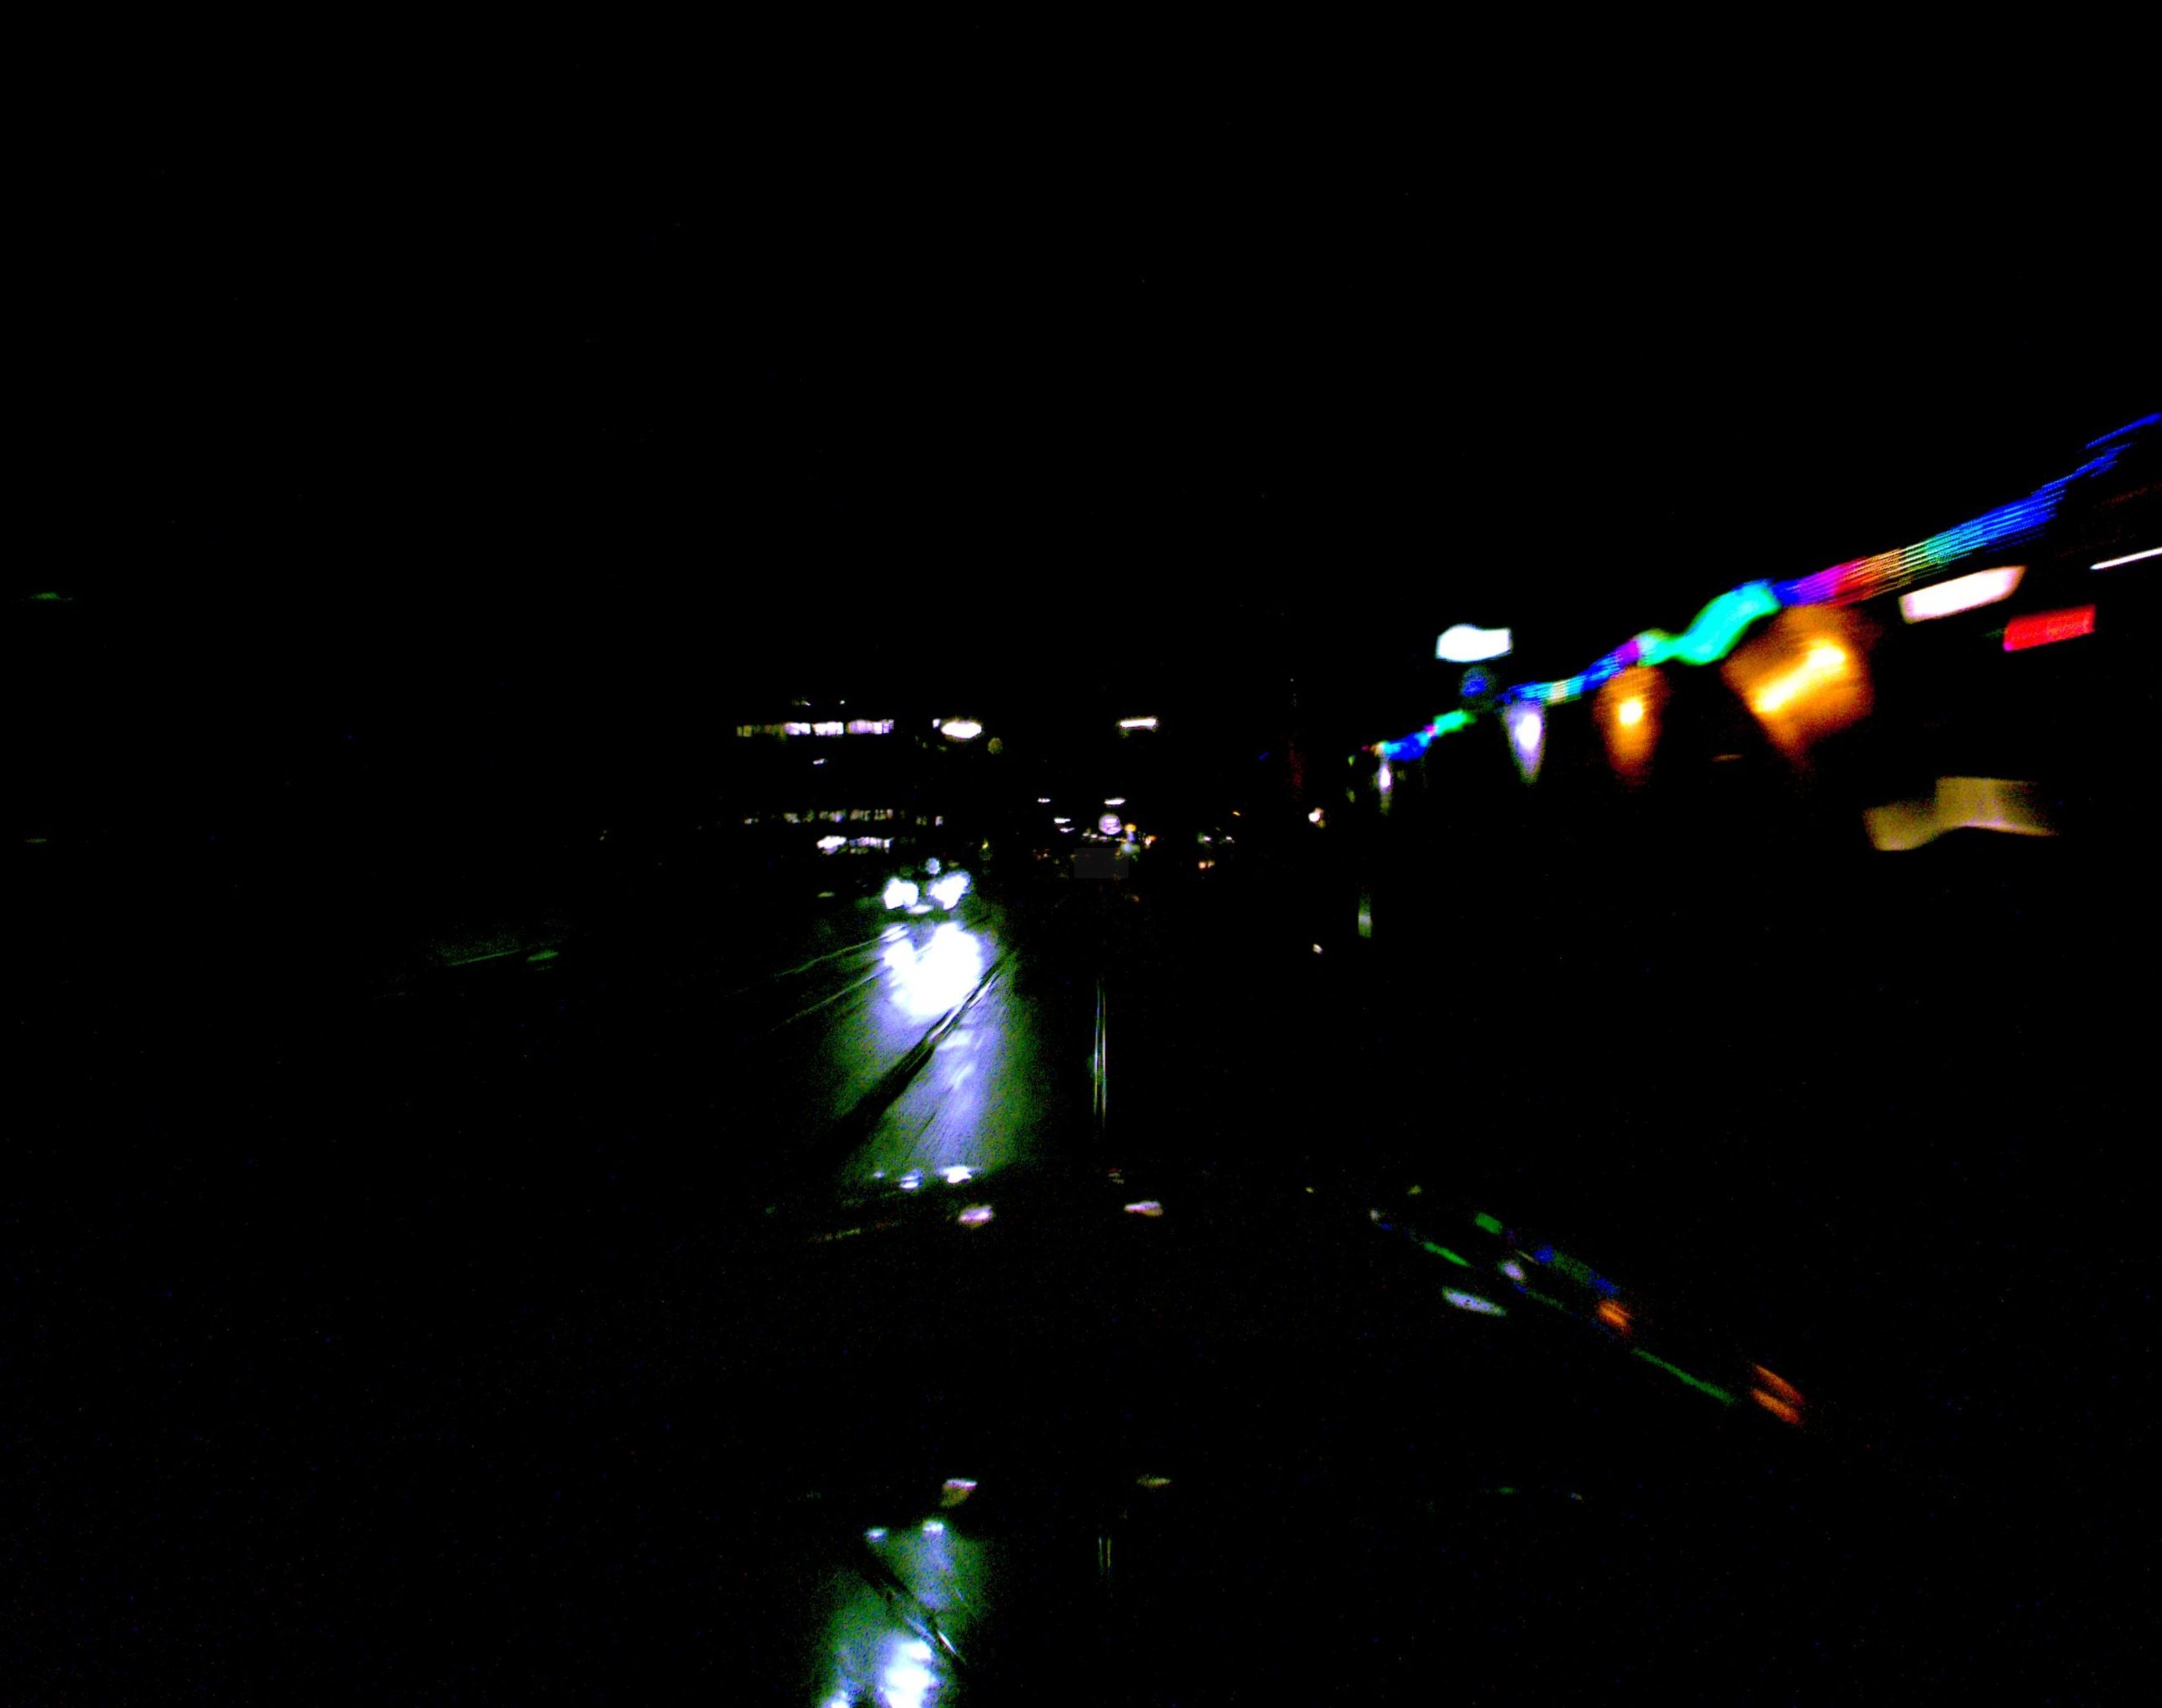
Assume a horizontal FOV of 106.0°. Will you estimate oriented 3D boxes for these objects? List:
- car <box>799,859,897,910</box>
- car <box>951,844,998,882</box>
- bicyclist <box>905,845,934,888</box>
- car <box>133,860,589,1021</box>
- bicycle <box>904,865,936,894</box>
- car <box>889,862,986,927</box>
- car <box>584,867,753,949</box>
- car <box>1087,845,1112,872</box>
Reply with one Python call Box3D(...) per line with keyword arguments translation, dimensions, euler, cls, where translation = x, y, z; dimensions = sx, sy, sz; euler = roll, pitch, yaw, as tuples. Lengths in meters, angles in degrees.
Box3D(translation=(-8.186, 1.018, 29.060), dimensions=(1.961, 1.655, 4.604), euler=(0, 0, 3), cls="car")
Box3D(translation=(-7.837, 0.590, 60.701), dimensions=(2.176, 2.591, 6.398), euler=(-2, 0, 3), cls="car")
Box3D(translation=(-6.571, 0.493, 33.199), dimensions=(0.780, 1.655, 1.206), euler=(-4, -1, 1), cls="bicyclist")
Box3D(translation=(-9.003, 0.935, 10.890), dimensions=(1.976, 1.631, 4.518), euler=(-2, 0, 1), cls="car")
Box3D(translation=(-6.535, 1.029, 33.190), dimensions=(0.779, 1.082, 1.919), euler=(-4, 0, 1), cls="bicycle")
Box3D(translation=(-3.818, 1.024, 22.319), dimensions=(1.769, 1.517, 4.052), euler=(-2, 0, 2), cls="car")
Box3D(translation=(-8.749, 1.074, 17.688), dimensions=(1.686, 1.421, 3.912), euler=(-3, 0, -2), cls="car")
Box3D(translation=(1.760, 0.439, 77.310), dimensions=(2.237, 2.361, 4.393), euler=(-2, 0, 0), cls="car")
